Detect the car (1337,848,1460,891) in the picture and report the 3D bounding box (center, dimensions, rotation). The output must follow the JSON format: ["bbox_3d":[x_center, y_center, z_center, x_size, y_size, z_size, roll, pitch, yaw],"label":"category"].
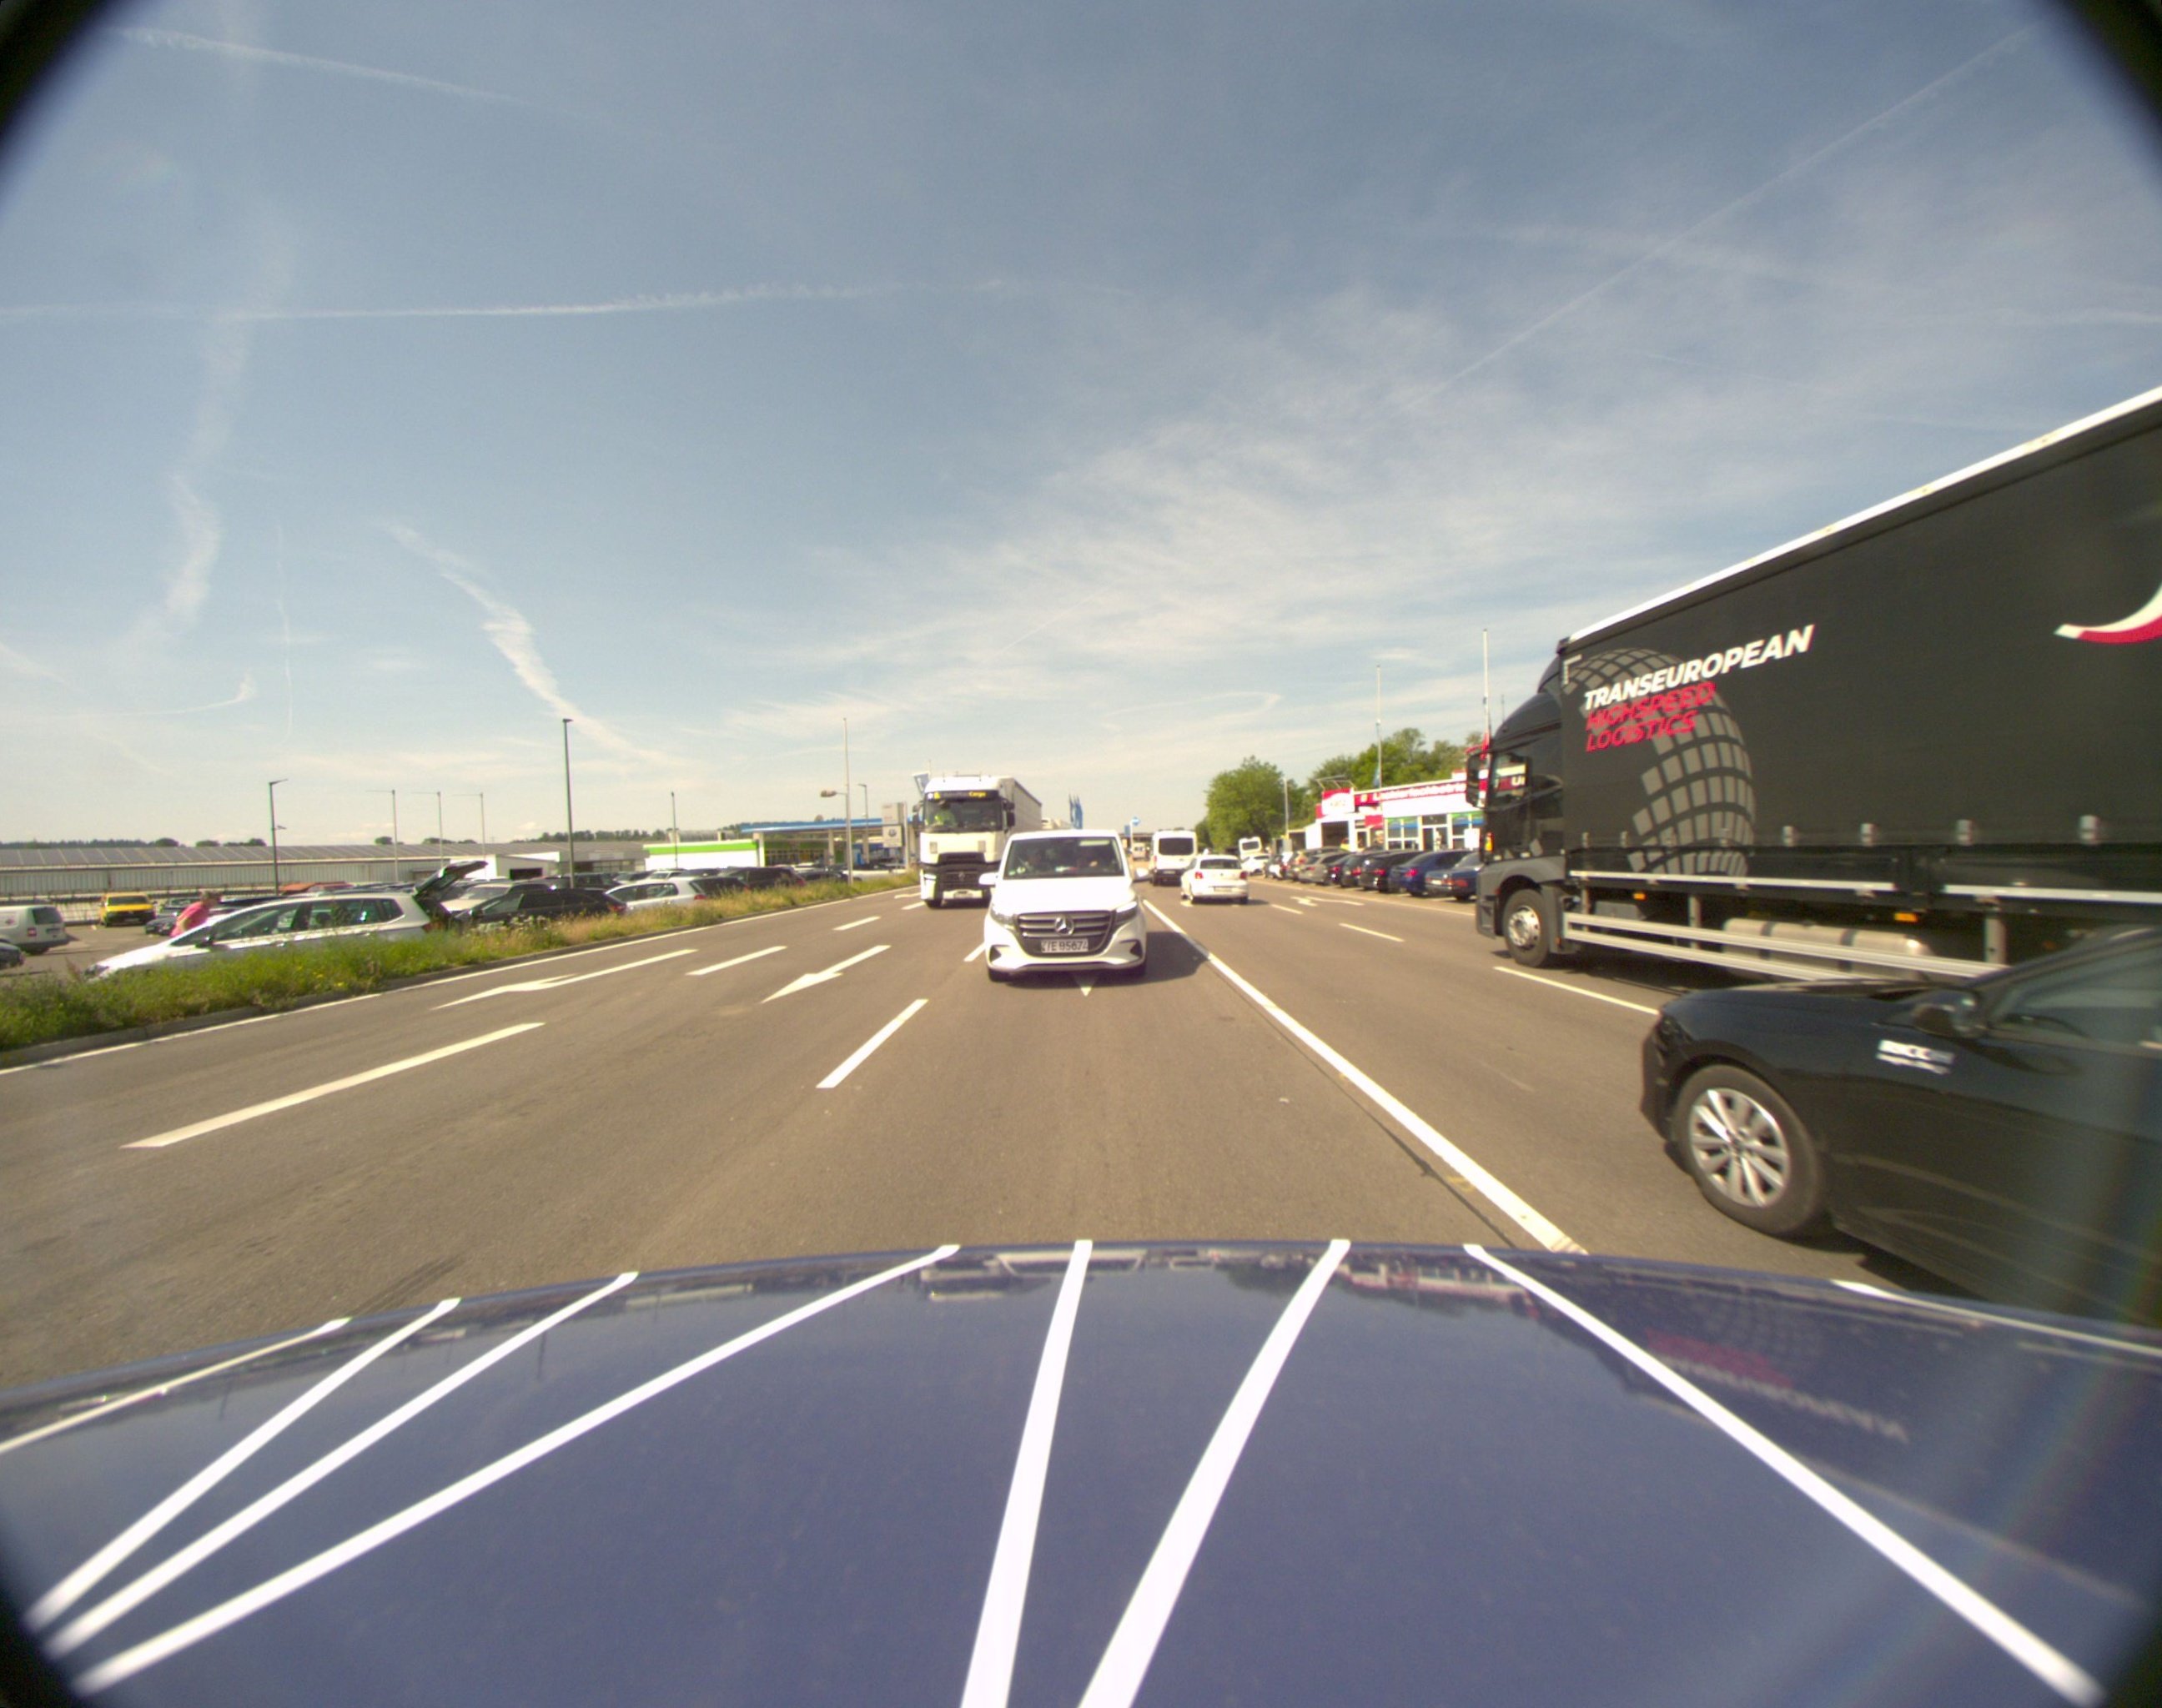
[{"bbox_3d":[12.000,0.560,28.896,3.877,1.490,1.949,-1,1,3],"label":"car"}]

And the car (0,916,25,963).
[{"bbox_3d":[-37.443,2.904,24.182,4.082,1.483,1.772,-2,1,-28],"label":"car"}]

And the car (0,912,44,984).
[{"bbox_3d":[-28.244,2.385,17.949,4.085,1.645,1.771,-2,1,-41],"label":"car"}]

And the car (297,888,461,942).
[{"bbox_3d":[-26.750,2.252,29.196,1.774,1.645,4.539,-1,0,6],"label":"car"}]

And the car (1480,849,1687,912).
[{"bbox_3d":[12.465,0.636,19.054,3.948,1.423,1.828,-1,1,2],"label":"car"}]

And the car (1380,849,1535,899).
[{"bbox_3d":[11.885,0.603,24.187,3.997,1.445,1.906,-1,1,1],"label":"car"}]

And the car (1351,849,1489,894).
[{"bbox_3d":[11.879,0.598,26.852,3.997,1.443,1.946,-1,1,1],"label":"car"}]

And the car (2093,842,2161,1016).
[{"bbox_3d":[11.530,0.622,6.122,4.044,1.521,2.031,-1,1,0],"label":"car"}]

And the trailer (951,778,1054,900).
[{"bbox_3d":[-2.970,-0.566,32.337,2.613,4.203,11.293,-1,0,2],"label":"trailer"}]

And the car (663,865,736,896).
[{"bbox_3d":[-23.227,1.582,46.471,1.774,1.645,4.540,-1,0,6],"label":"car"}]

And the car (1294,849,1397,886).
[{"bbox_3d":[11.864,0.584,34.237,3.974,1.484,1.739,-1,1,-2],"label":"car"}]

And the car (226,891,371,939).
[{"bbox_3d":[-34.208,2.609,33.413,1.775,1.645,4.536,-1,0,-3],"label":"car"}]

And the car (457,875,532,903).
[{"bbox_3d":[-39.790,2.361,51.532,4.527,1.718,2.072,-1,1,24],"label":"car"}]

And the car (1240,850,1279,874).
[{"bbox_3d":[12.120,0.535,51.861,1.765,1.406,4.000,-5,0,3],"label":"car"}]

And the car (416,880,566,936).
[{"bbox_3d":[-21.219,1.876,27.629,1.908,1.645,4.708,-1,0,-3],"label":"car"}]

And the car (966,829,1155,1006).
[{"bbox_3d":[-0.183,0.671,11.095,1.993,1.858,5.803,-1,0,1],"label":"car"}]

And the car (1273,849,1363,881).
[{"bbox_3d":[12.203,0.532,39.286,3.997,1.516,2.000,-1,1,-1],"label":"car"}]

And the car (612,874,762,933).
[{"bbox_3d":[-12.442,1.507,24.074,4.007,1.543,1.771,-2,1,-35],"label":"car"}]

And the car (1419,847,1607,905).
[{"bbox_3d":[12.159,0.600,21.619,4.258,1.459,1.874,-1,1,2],"label":"car"}]

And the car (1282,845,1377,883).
[{"bbox_3d":[11.990,0.460,36.815,3.996,1.717,1.871,-1,1,2],"label":"car"}]

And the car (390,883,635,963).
[{"bbox_3d":[-12.978,1.507,17.725,4.350,1.444,1.772,-2,1,-32],"label":"car"}]

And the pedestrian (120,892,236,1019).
[{"bbox_3d":[-14.635,1.606,12.355,0.990,1.900,0.742,-2,1,-34],"label":"pedestrian"}]

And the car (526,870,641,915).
[{"bbox_3d":[-21.644,1.618,33.286,1.774,1.645,4.539,-1,0,4],"label":"car"}]

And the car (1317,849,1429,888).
[{"bbox_3d":[12.023,0.569,31.471,3.996,1.474,1.756,-1,1,3],"label":"car"}]

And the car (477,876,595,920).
[{"bbox_3d":[-23.913,1.885,33.590,1.774,1.645,4.434,-1,0,4],"label":"car"}]

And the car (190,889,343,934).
[{"bbox_3d":[-36.566,2.538,34.327,1.774,1.645,4.539,-1,0,5],"label":"car"}]

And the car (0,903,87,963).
[{"bbox_3d":[-38.834,2.838,26.592,4.544,1.937,1.772,-2,1,-27],"label":"car"}]

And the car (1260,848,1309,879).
[{"bbox_3d":[12.030,0.529,45.207,1.998,1.546,4.001,-5,0,4],"label":"car"}]

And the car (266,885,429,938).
[{"bbox_3d":[-29.252,2.229,30.554,1.821,1.719,4.540,-1,0,6],"label":"car"}]

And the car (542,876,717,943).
[{"bbox_3d":[-12.413,1.473,21.167,4.005,1.549,1.709,-2,1,-27],"label":"car"}]

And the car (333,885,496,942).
[{"bbox_3d":[-23.808,2.053,27.429,1.969,1.645,4.536,-1,0,-3],"label":"car"}]

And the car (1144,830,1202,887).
[{"bbox_3d":[4.393,0.162,37.446,2.064,2.495,7.114,-1,0,1],"label":"car"}]

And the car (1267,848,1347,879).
[{"bbox_3d":[12.433,0.511,42.021,3.798,1.542,1.941,-1,1,-1],"label":"car"}]
